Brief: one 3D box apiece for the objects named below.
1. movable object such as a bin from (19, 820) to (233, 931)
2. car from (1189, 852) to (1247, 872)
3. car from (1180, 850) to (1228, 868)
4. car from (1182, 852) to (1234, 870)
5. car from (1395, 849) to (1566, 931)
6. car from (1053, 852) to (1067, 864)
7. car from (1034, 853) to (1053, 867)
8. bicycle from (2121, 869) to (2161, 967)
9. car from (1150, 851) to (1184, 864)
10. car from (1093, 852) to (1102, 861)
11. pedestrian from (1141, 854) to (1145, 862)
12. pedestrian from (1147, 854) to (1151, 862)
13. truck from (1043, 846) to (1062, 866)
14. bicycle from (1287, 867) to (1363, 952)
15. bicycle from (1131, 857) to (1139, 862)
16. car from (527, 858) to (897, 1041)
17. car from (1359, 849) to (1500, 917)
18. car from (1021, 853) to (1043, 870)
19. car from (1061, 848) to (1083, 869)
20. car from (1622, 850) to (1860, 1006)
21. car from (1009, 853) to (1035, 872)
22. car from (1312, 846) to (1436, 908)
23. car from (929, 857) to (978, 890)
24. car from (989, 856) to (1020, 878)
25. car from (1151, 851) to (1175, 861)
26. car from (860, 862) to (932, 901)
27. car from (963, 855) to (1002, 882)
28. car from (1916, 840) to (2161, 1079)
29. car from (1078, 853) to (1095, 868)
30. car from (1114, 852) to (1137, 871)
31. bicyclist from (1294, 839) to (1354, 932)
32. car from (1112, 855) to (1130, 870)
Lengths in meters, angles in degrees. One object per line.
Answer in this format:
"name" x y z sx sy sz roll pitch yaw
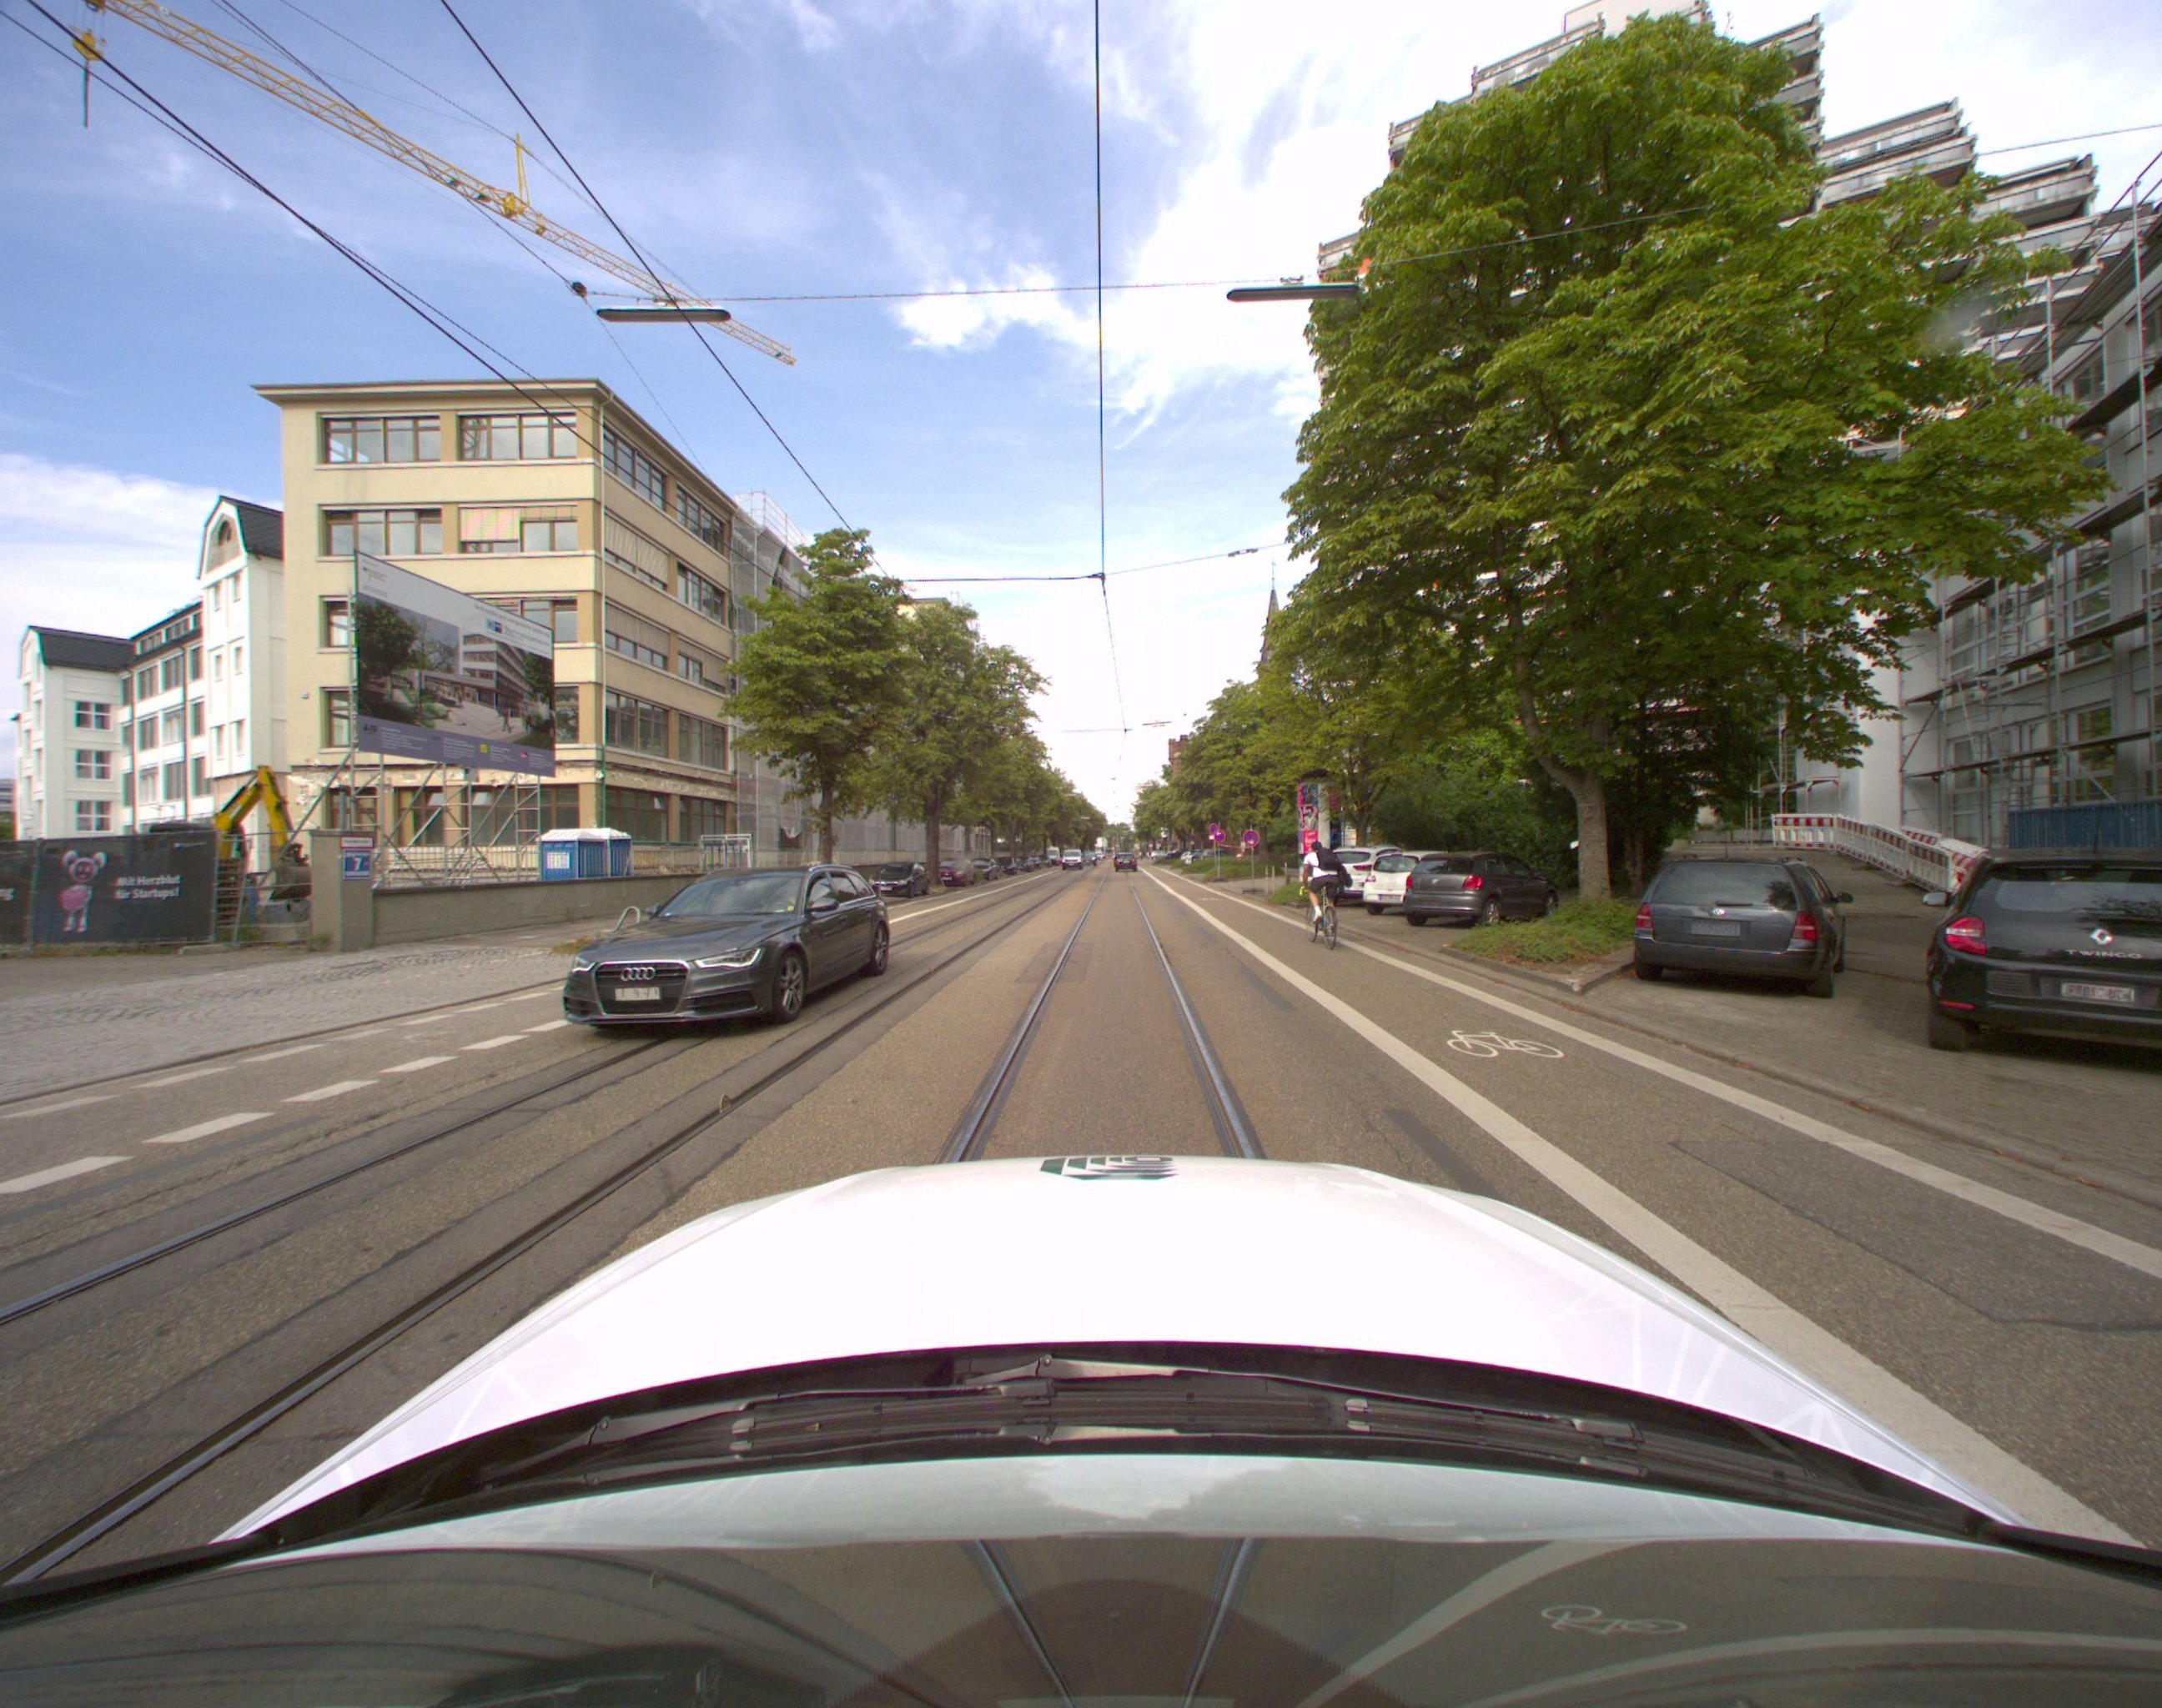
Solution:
"movable object such as a bin" -18.971 0.403 16.275 1.977 2.067 1.963 -1 0 4
"car" 10.233 0.604 60.955 3.975 1.425 1.884 -1 0 -1
"car" 11.032 0.448 73.250 3.975 1.627 1.884 -1 0 -1
"car" 10.555 0.573 67.854 3.975 1.425 1.884 -1 0 -1
"car" 7.996 0.635 16.215 3.551 1.442 1.606 -1 0 -37
"car" -3.026 0.603 118.972 1.795 1.583 4.033 -2 0 2
"car" -4.263 0.694 93.378 1.795 1.583 4.033 -2 0 2
"bicycle" 13.615 0.729 9.355 1.947 1.128 0.542 -3 -1 32
"car" 10.434 0.388 98.930 3.975 1.508 1.884 -1 0 -1
"car" 3.242 0.501 160.788 1.795 1.622 4.486 -2 0 2
"pedestrian" 12.675 0.848 167.010 0.721 1.646 0.769 0 0 12
"pedestrian" 13.902 0.847 167.494 0.721 1.646 0.769 0 0 12
"truck" -3.654 0.218 106.447 2.063 2.470 4.901 -2 0 2
"bicycle" 3.961 0.852 13.392 0.655 1.249 2.125 0 0 1
"bicycle" 11.088 1.166 167.159 1.709 0.991 0.660 0 0 11
"car" -3.518 0.786 8.895 1.828 1.448 4.555 -1 0 2
"car" 8.279 0.620 19.260 3.463 1.442 1.543 -1 0 -37
"car" -4.903 0.742 81.591 1.795 1.583 4.033 -2 0 2
"car" -0.772 0.401 74.642 1.795 1.823 4.486 -2 0 2
"car" 7.765 0.691 9.458 3.760 1.458 1.620 0 0 -43
"car" -5.266 0.775 73.022 1.795 1.583 4.033 -2 0 2
"car" 8.068 0.573 22.370 3.463 1.573 1.543 -1 0 -37
"car" -6.716 0.994 43.194 1.795 1.583 4.033 -2 0 2
"car" -5.856 0.938 62.793 1.795 1.583 4.033 -2 0 2
"car" 14.575 0.351 145.031 3.975 1.910 1.999 0 0 -1
"car" -7.362 1.069 32.810 1.795 1.374 4.033 -2 0 2
"car" -6.262 0.880 52.060 1.795 1.583 4.033 -2 0 2
"car" 8.088 0.673 6.686 3.760 1.522 1.620 0 0 -43
"car" 0.667 0.775 95.167 1.795 1.622 4.486 -2 0 2
"car" 3.487 0.592 64.237 1.786 1.423 4.002 0 0 2
"bicyclist" 3.963 0.488 13.355 0.655 1.463 1.179 0 0 1
"car" 4.159 0.822 83.975 1.786 1.470 4.003 1 0 3
